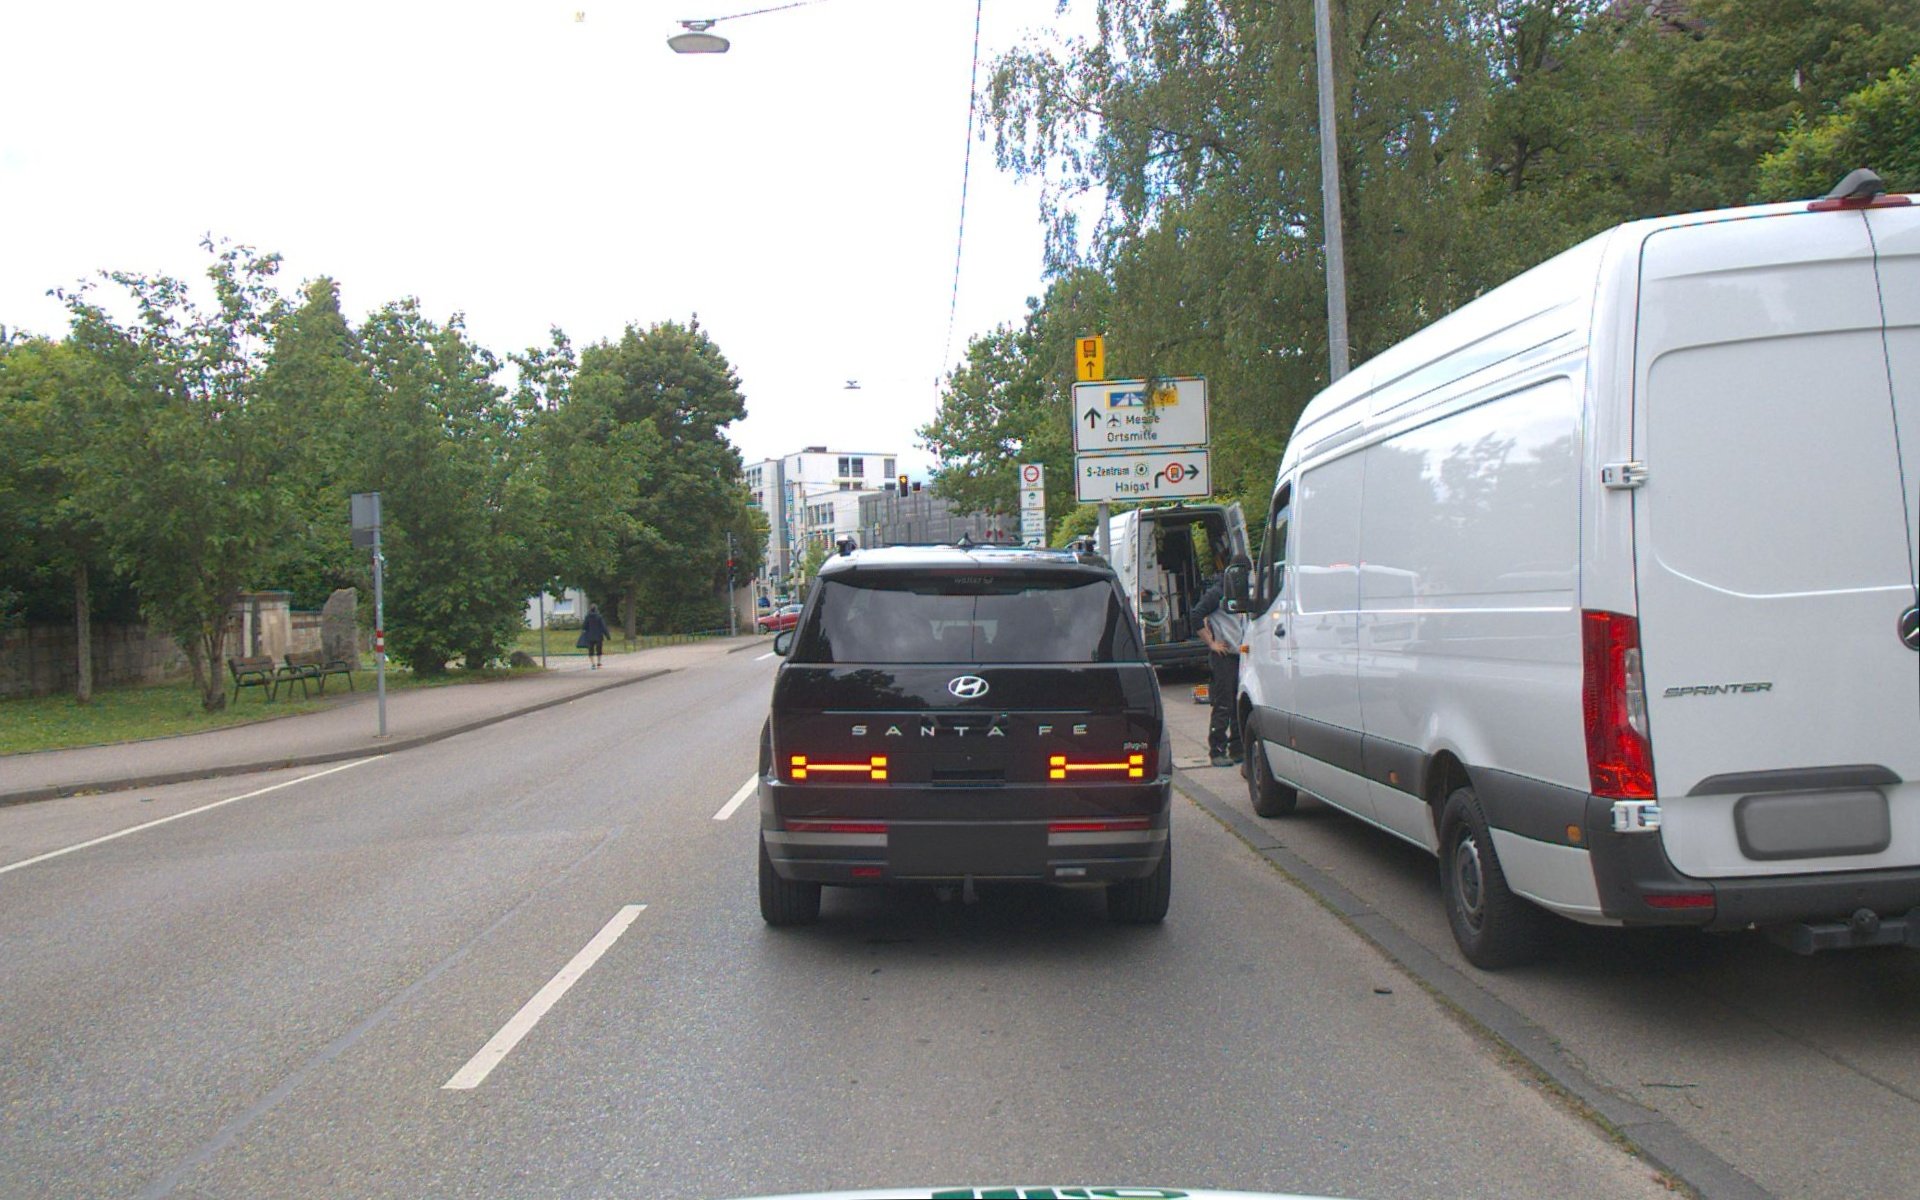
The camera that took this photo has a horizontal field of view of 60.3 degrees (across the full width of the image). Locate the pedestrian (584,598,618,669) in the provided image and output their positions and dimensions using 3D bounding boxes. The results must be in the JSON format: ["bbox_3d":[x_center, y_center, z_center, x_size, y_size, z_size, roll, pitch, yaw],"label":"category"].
[{"bbox_3d":[-9.051,0.827,41.685,0.724,1.745,0.791,-2,0,-8],"label":"pedestrian"}]

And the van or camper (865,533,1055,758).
[{"bbox_3d":[-0.026,0.420,17.485,1.719,2.049,3.999,-2,0,-1],"label":"van or camper"}]

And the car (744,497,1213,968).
[{"bbox_3d":[0.045,0.514,8.541,1.851,1.851,3.999,0,0,-1],"label":"car"}]

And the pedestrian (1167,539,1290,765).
[{"bbox_3d":[2.252,0.427,13.968,0.852,1.828,0.759,-2,0,-2],"label":"pedestrian"}]

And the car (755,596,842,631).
[{"bbox_3d":[-8.734,0.729,89.344,4.616,1.778,1.997,1,0,-8],"label":"car"}]

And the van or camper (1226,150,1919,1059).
[{"bbox_3d":[2.897,-0.018,8.181,1.953,2.665,6.540,-2,0,-1],"label":"van or camper"}]

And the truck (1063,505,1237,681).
[{"bbox_3d":[3.095,-0.103,28.112,1.904,2.606,5.212,-3,0,-4],"label":"truck"}]
